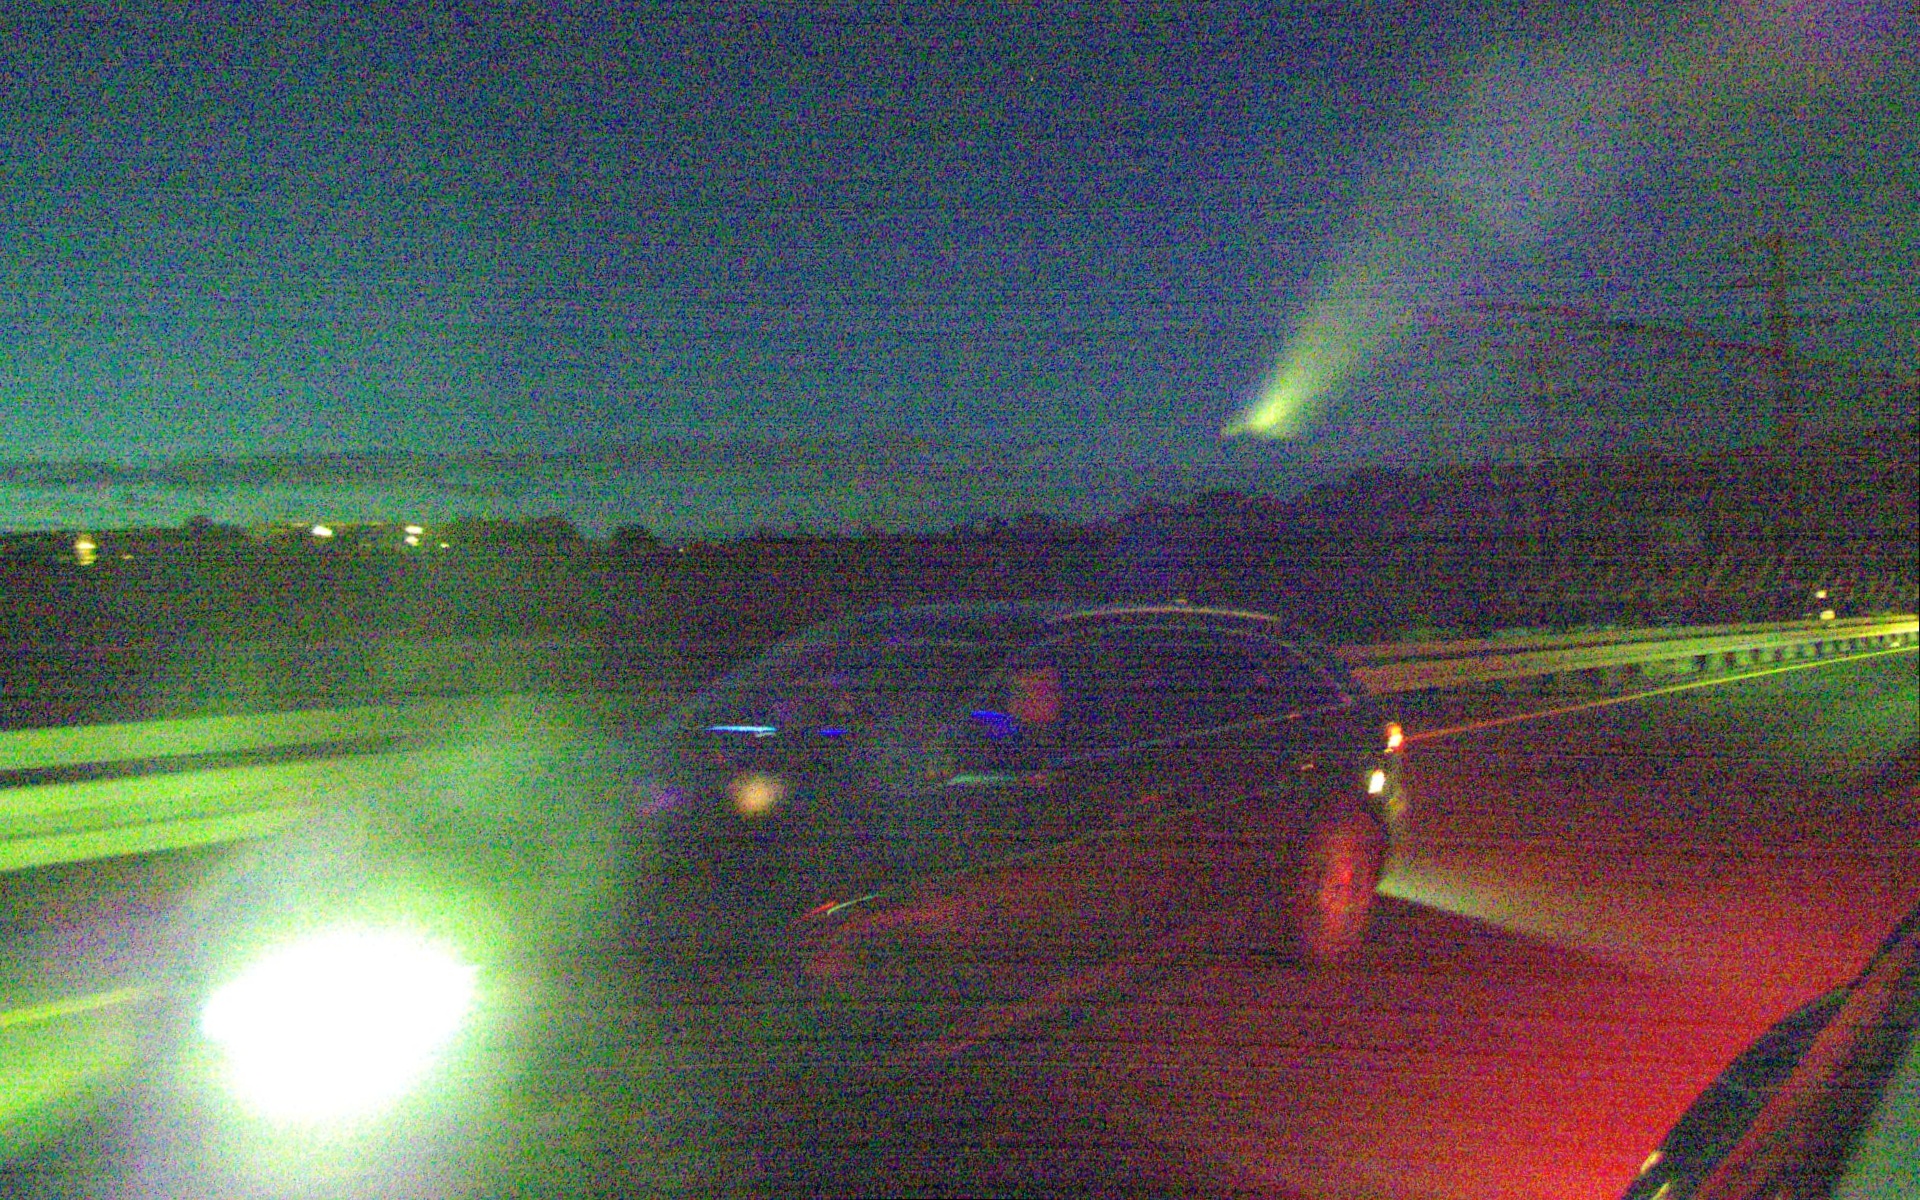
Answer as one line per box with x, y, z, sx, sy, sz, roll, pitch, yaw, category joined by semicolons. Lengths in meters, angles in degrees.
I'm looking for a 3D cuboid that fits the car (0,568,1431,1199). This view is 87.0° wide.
-0.392;0.666;3.603;4.786;1.444;1.813;0;2;-39;car
